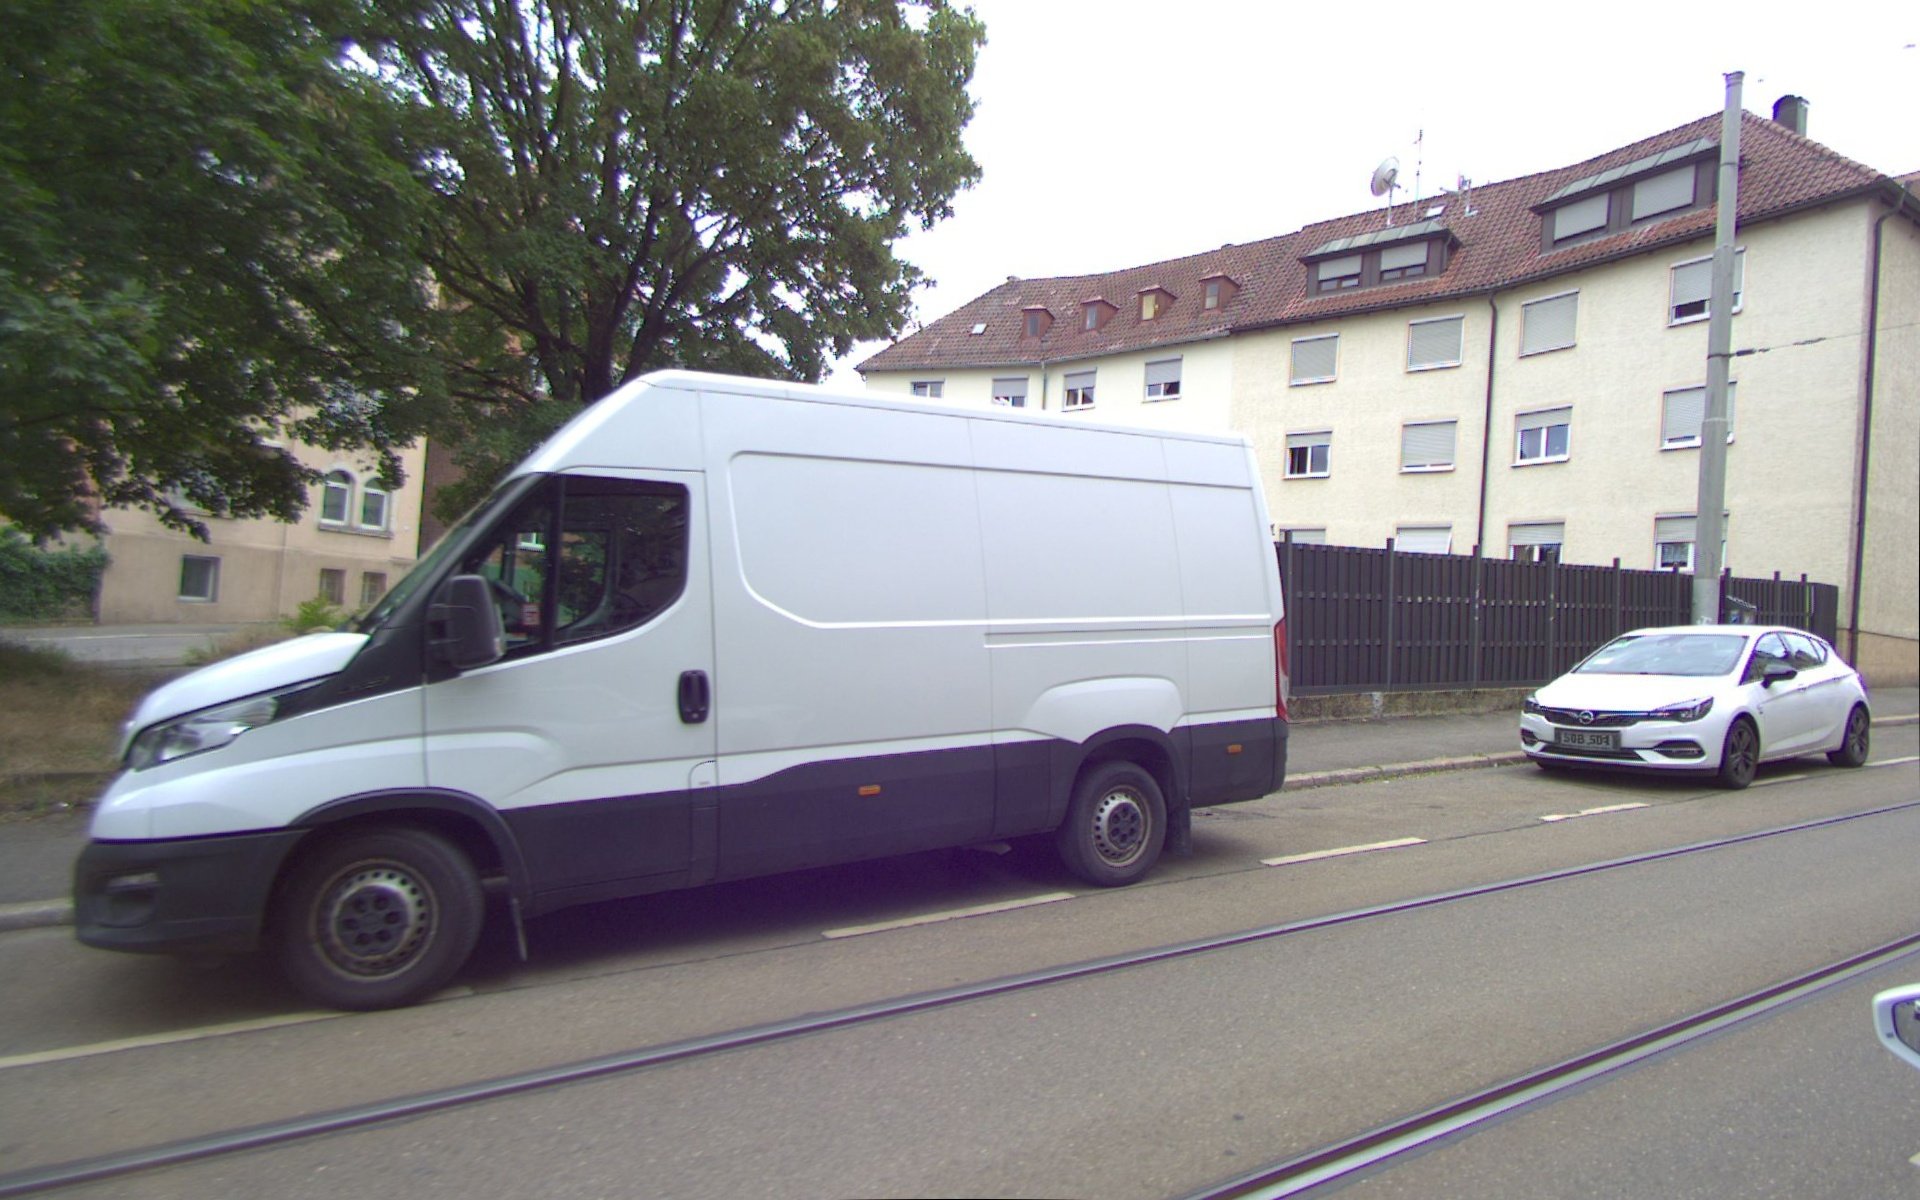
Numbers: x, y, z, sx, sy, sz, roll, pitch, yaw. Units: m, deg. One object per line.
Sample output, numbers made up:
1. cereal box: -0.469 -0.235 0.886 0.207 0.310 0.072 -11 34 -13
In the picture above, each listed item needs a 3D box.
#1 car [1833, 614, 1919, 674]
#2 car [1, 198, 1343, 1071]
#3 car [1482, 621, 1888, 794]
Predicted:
1. car: 30.664 1.375 31.127 1.920 1.842 5.144 1 -2 -33
2. car: -0.791 0.186 5.578 6.148 2.641 2.147 1 -3 -32
3. car: 7.362 0.960 10.118 4.262 1.421 1.711 1 -3 -30
